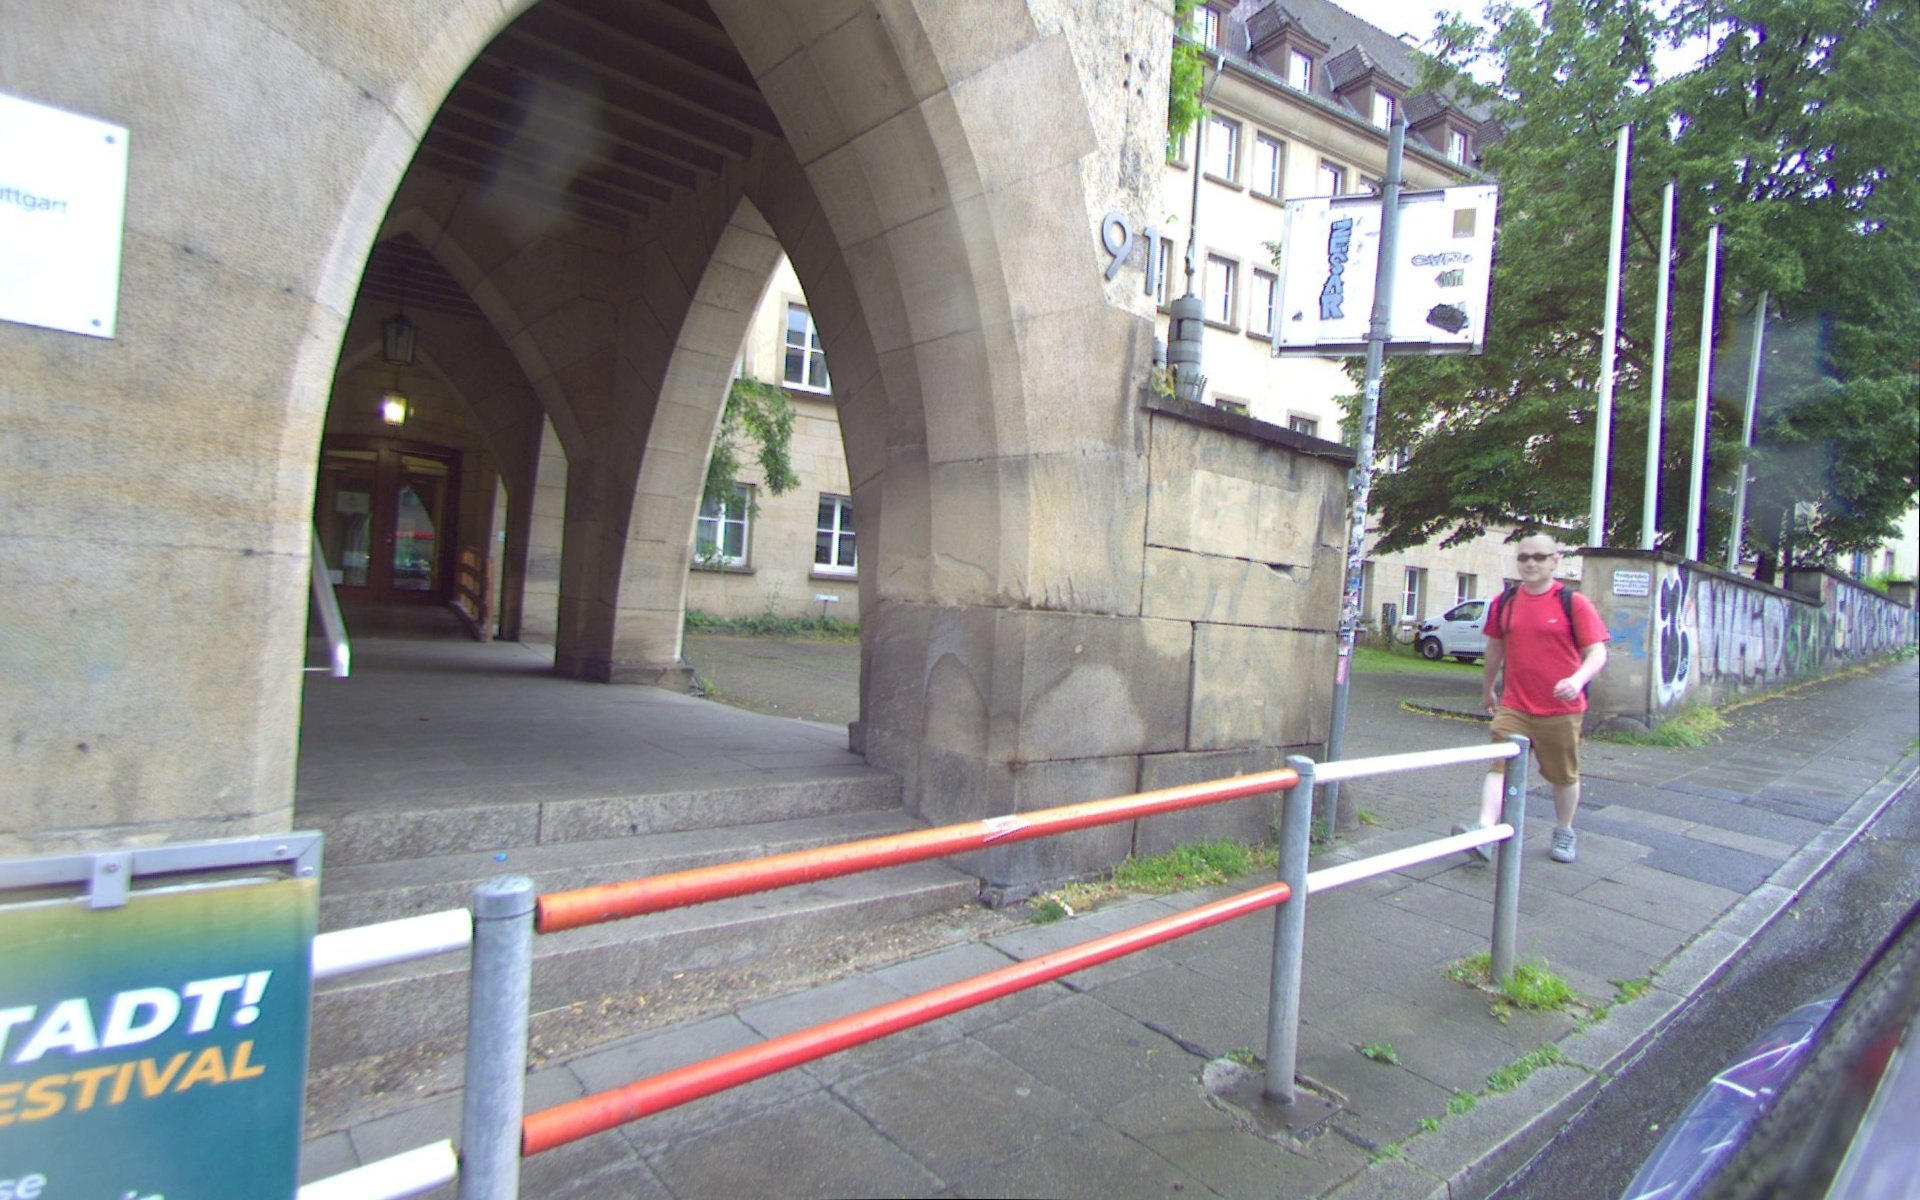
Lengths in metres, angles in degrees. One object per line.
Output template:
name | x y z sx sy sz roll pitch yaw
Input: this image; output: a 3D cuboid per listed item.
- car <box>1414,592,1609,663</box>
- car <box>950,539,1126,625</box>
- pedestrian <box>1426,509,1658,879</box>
car | 15.293 0.697 28.339 1.786 1.802 4.538 0 0 -29
car | 1.384 -0.314 19.572 1.580 1.488 3.921 0 0 -27
pedestrian | 3.117 0.438 5.430 0.804 1.785 0.748 1 4 -41
